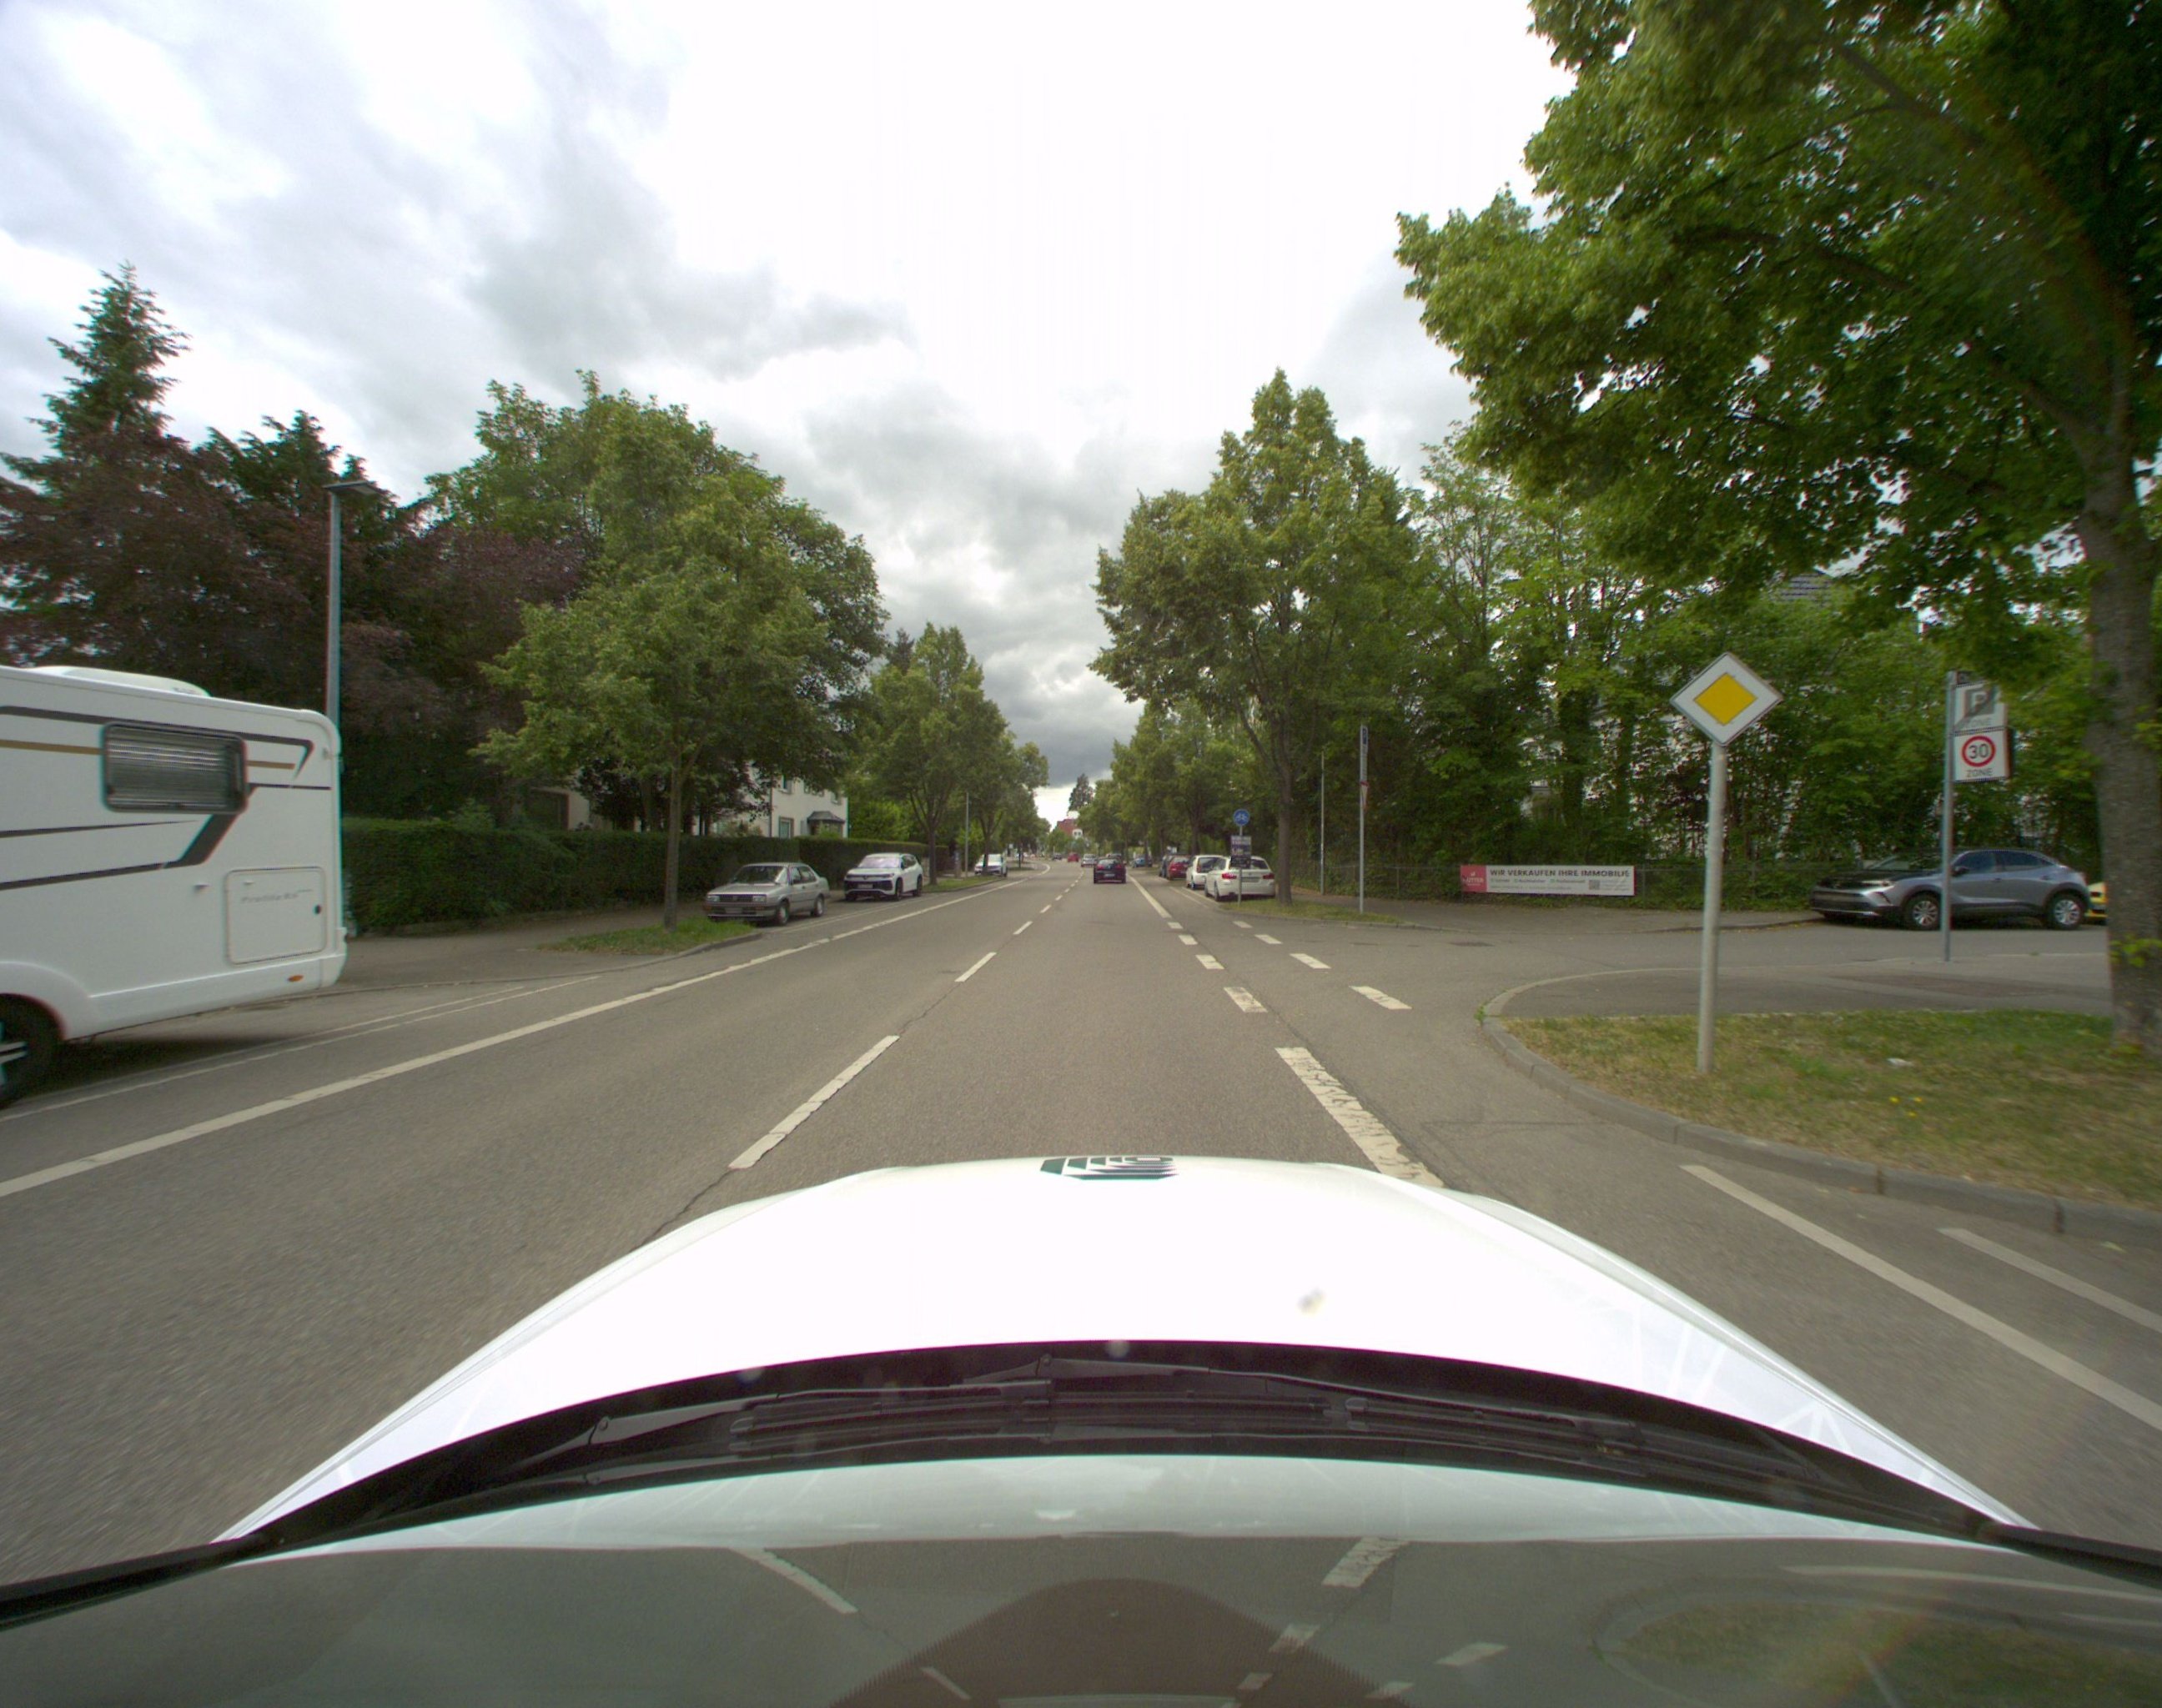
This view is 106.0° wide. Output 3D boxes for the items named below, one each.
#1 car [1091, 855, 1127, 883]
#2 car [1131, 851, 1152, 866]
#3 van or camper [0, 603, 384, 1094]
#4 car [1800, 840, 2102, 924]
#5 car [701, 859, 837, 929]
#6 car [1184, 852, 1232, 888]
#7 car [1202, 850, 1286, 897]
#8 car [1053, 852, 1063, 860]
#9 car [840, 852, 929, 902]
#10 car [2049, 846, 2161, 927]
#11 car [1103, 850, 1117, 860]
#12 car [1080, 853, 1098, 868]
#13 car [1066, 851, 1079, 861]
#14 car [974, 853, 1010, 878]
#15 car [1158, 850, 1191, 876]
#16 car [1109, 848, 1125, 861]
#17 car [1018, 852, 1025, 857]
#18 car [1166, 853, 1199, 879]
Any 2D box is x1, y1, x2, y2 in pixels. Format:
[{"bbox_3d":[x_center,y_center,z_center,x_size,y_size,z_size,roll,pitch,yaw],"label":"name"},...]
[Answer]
[{"bbox_3d":[1.457,0.774,43.889,1.777,1.449,3.557,-1,0,0],"label":"car"},{"bbox_3d":[6.132,0.430,82.710,1.679,1.432,4.039,-1,0,-3],"label":"car"},{"bbox_3d":[-7.884,-0.021,3.784,2.426,3.009,7.697,-1,0,2],"label":"van or camper"},{"bbox_3d":[16.435,0.484,15.523,3.977,1.459,1.792,-1,1,-2],"label":"car"},{"bbox_3d":[-7.407,0.880,19.794,1.550,1.470,4.452,0,0,0],"label":"car"},{"bbox_3d":[5.525,0.673,35.788,1.609,1.460,3.659,-1,0,2],"label":"car"},{"bbox_3d":[5.359,0.592,27.379,2.013,1.443,5.028,0,0,2],"label":"car"},{"bbox_3d":[-4.575,0.352,163.363,1.989,1.508,3.995,0,-1,-3],"label":"car"},{"bbox_3d":[-7.008,0.768,29.608,1.809,1.652,4.704,0,0,4],"label":"car"},{"bbox_3d":[21.398,0.567,15.424,3.972,1.416,1.794,0,1,2],"label":"car"},{"bbox_3d":[4.128,0.155,116.165,1.683,1.449,3.573,-1,0,-5],"label":"car"},{"bbox_3d":[0.940,0.721,92.929,1.987,1.558,4.000,-1,0,0],"label":"car"},{"bbox_3d":[-1.349,0.378,128.879,1.988,1.530,3.997,-1,0,-2],"label":"car"},{"bbox_3d":[-6.169,0.763,56.908,1.867,1.688,4.867,-1,0,2],"label":"car"},{"bbox_3d":[6.043,0.585,53.162,1.633,1.615,4.168,0,0,-1],"label":"car"},{"bbox_3d":[4.846,0.063,110.268,1.784,1.772,3.977,-1,0,-3],"label":"car"},{"bbox_3d":[-18.577,0.154,255.573,1.968,1.675,3.874,0,0,-2],"label":"car"},{"bbox_3d":[5.896,0.693,47.684,1.631,1.420,4.004,-1,0,3],"label":"car"}]
